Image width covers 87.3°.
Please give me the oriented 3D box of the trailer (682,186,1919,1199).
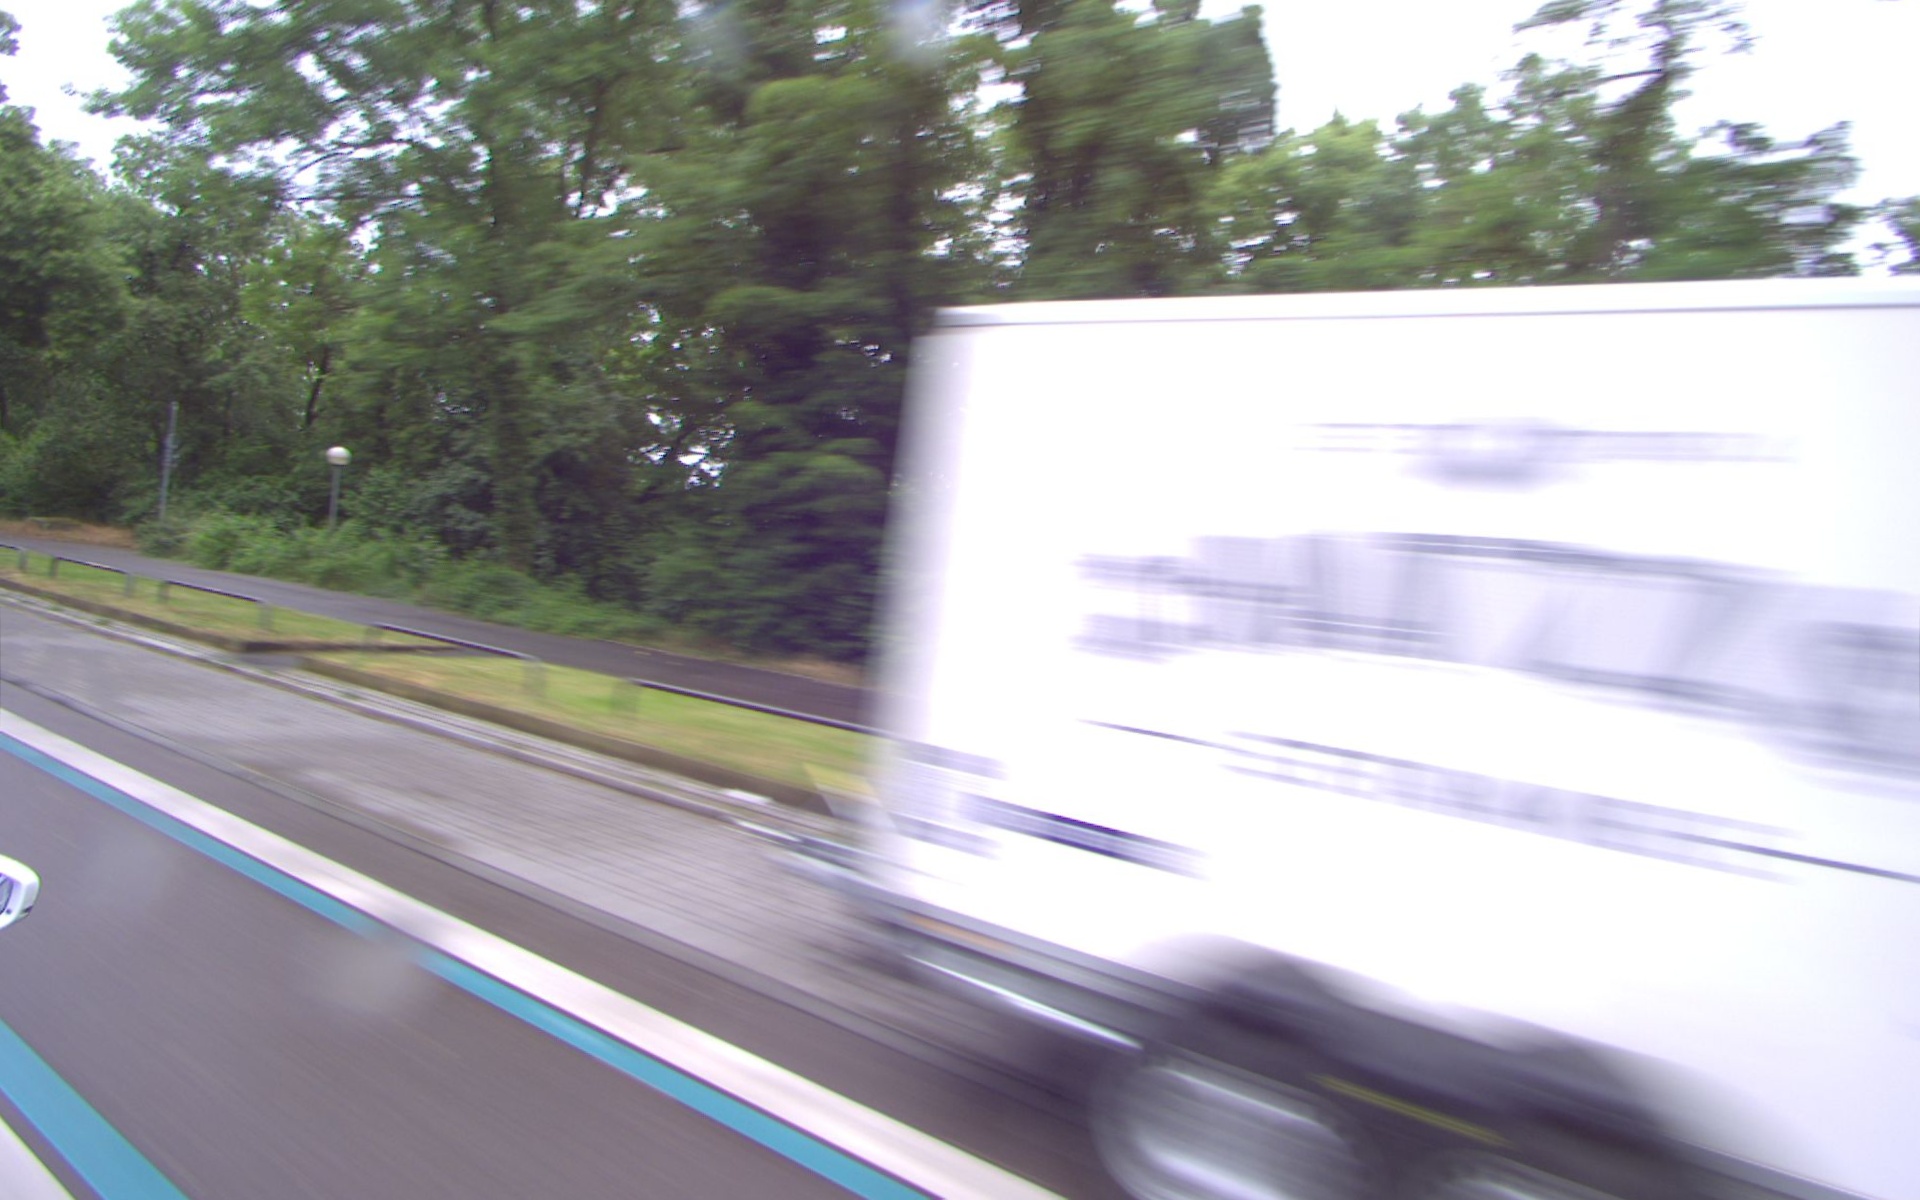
[{"bbox_3d":[1.405,0.464,3.286,3.931,2.596,1.987,7,-1,29],"label":"trailer"}]
